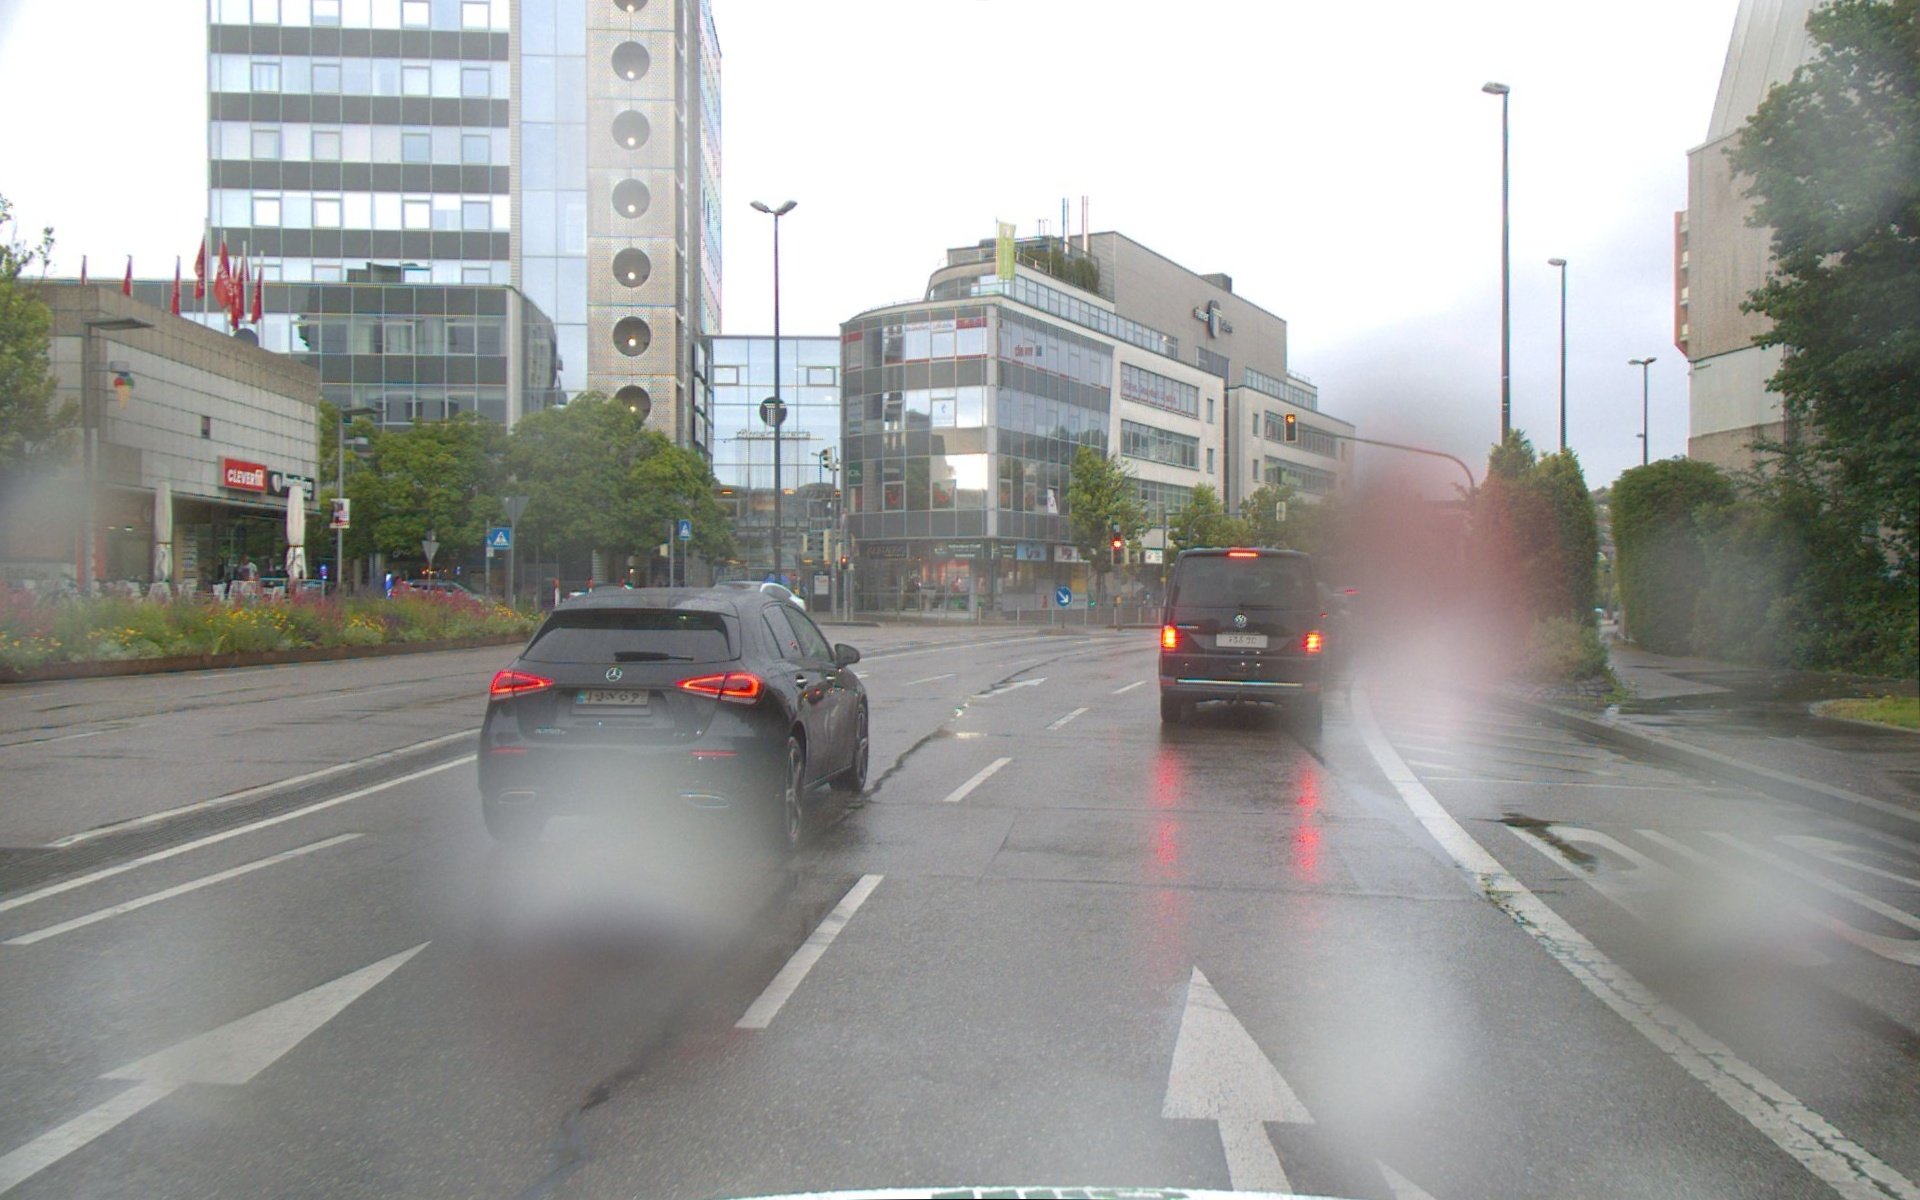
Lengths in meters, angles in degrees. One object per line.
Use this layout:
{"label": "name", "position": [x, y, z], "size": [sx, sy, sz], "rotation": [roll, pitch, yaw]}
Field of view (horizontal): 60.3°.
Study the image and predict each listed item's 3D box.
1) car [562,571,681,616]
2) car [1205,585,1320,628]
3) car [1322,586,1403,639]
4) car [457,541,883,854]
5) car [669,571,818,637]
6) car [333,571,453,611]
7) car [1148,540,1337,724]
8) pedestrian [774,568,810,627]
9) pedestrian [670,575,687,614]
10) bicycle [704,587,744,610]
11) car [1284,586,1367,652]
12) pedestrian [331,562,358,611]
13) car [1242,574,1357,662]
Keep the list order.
{"label": "car", "position": [-12.963, -0.243, 63.530], "size": [4.105, 1.623, 1.870], "rotation": [1, 0, 1]}
{"label": "car", "position": [12.595, 0.268, 68.941], "size": [4.430, 1.712, 1.878], "rotation": [1, 0, -24]}
{"label": "car", "position": [11.273, 0.326, 46.206], "size": [1.872, 1.425, 3.459], "rotation": [0, 0, 19]}
{"label": "car", "position": [-1.599, 0.501, 10.500], "size": [1.777, 1.556, 3.814], "rotation": [2, 0, 3]}
{"label": "car", "position": [-5.190, 0.084, 40.351], "size": [1.803, 1.486, 4.812], "rotation": [1, 0, 16]}
{"label": "car", "position": [-21.999, -0.356, 64.265], "size": [3.961, 1.445, 1.871], "rotation": [1, 0, 3]}
{"label": "car", "position": [3.397, 0.338, 19.936], "size": [1.953, 1.927, 4.591], "rotation": [1, 0, 10]}
{"label": "pedestrian", "position": [-5.894, -0.103, 58.097], "size": [1.141, 2.049, 1.325], "rotation": [1, 0, -10]}
{"label": "pedestrian", "position": [-15.144, -0.303, 88.945], "size": [0.747, 2.049, 0.714], "rotation": [1, 0, 0]}
{"label": "bicycle", "position": [-13.484, -0.080, 94.519], "size": [2.229, 1.268, 0.676], "rotation": [0, 0, -5]}
{"label": "car", "position": [8.946, 0.474, 40.302], "size": [1.599, 1.473, 4.270], "rotation": [1, -1, 17]}
{"label": "pedestrian", "position": [-17.375, -0.394, 46.709], "size": [0.487, 1.371, 0.536], "rotation": [1, 0, 32]}
{"label": "car", "position": [6.967, 0.328, 33.663], "size": [1.861, 1.649, 4.338], "rotation": [1, 1, 17]}
